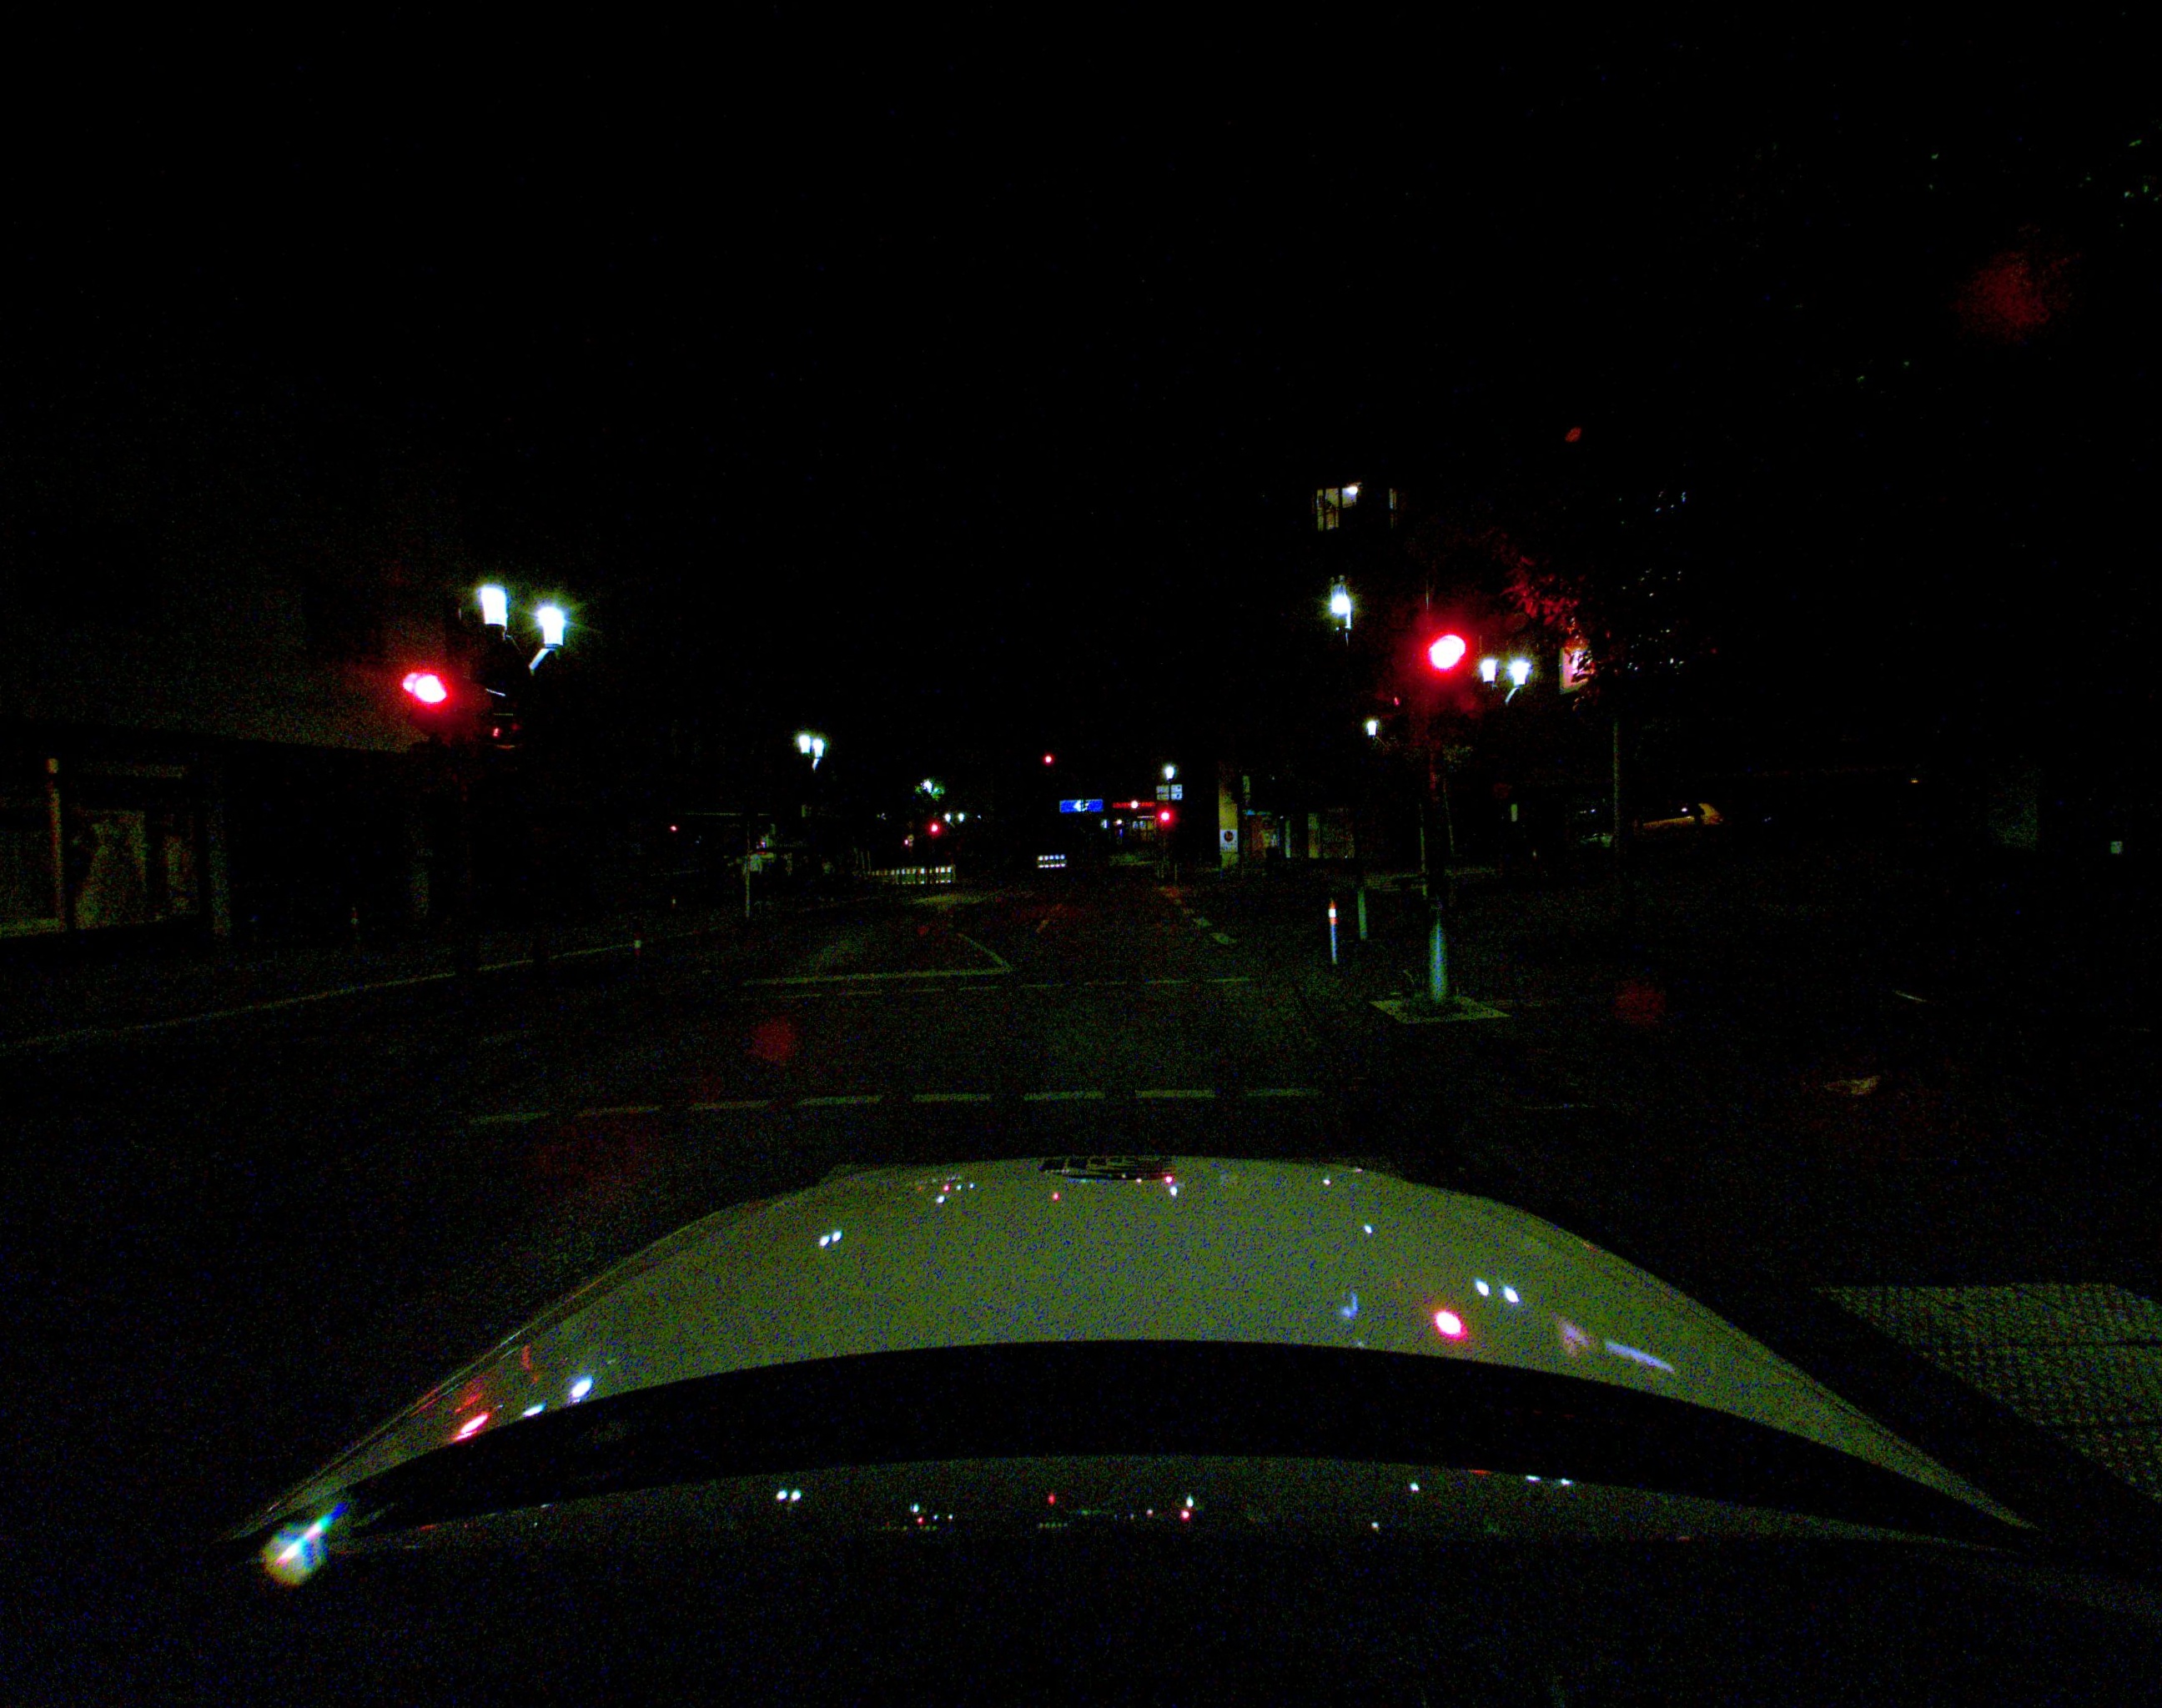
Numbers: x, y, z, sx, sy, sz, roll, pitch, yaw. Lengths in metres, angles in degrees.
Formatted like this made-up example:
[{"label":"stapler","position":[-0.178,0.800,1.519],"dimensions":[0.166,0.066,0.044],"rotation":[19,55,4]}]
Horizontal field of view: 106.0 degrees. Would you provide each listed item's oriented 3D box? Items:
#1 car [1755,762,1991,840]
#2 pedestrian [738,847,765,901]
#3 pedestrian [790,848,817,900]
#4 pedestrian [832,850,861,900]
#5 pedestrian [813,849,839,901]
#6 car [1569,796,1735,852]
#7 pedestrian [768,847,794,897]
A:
[{"label":"car","position":[23.403,-1.472,24.404],"dimensions":[4.783,1.910,2.172],"rotation":[-2,-2,37]},{"label":"pedestrian","position":[-11.074,0.681,27.361],"dimensions":[0.715,1.795,0.568],"rotation":[0,-2,-8]},{"label":"pedestrian","position":[-9.747,0.711,28.614],"dimensions":[0.712,1.795,0.571],"rotation":[-1,-2,8]},{"label":"pedestrian","position":[-8.461,0.759,29.374],"dimensions":[0.710,1.795,0.741],"rotation":[-1,-2,21]},{"label":"pedestrian","position":[-8.985,0.734,28.711],"dimensions":[0.712,1.795,0.571],"rotation":[-1,-2,8]},{"label":"car","position":[18.523,-0.940,26.589],"dimensions":[4.019,1.452,1.830],"rotation":[-4,0,8]},{"label":"pedestrian","position":[-11.041,0.661,29.967],"dimensions":[0.712,1.795,0.571],"rotation":[-1,-2,8]}]
